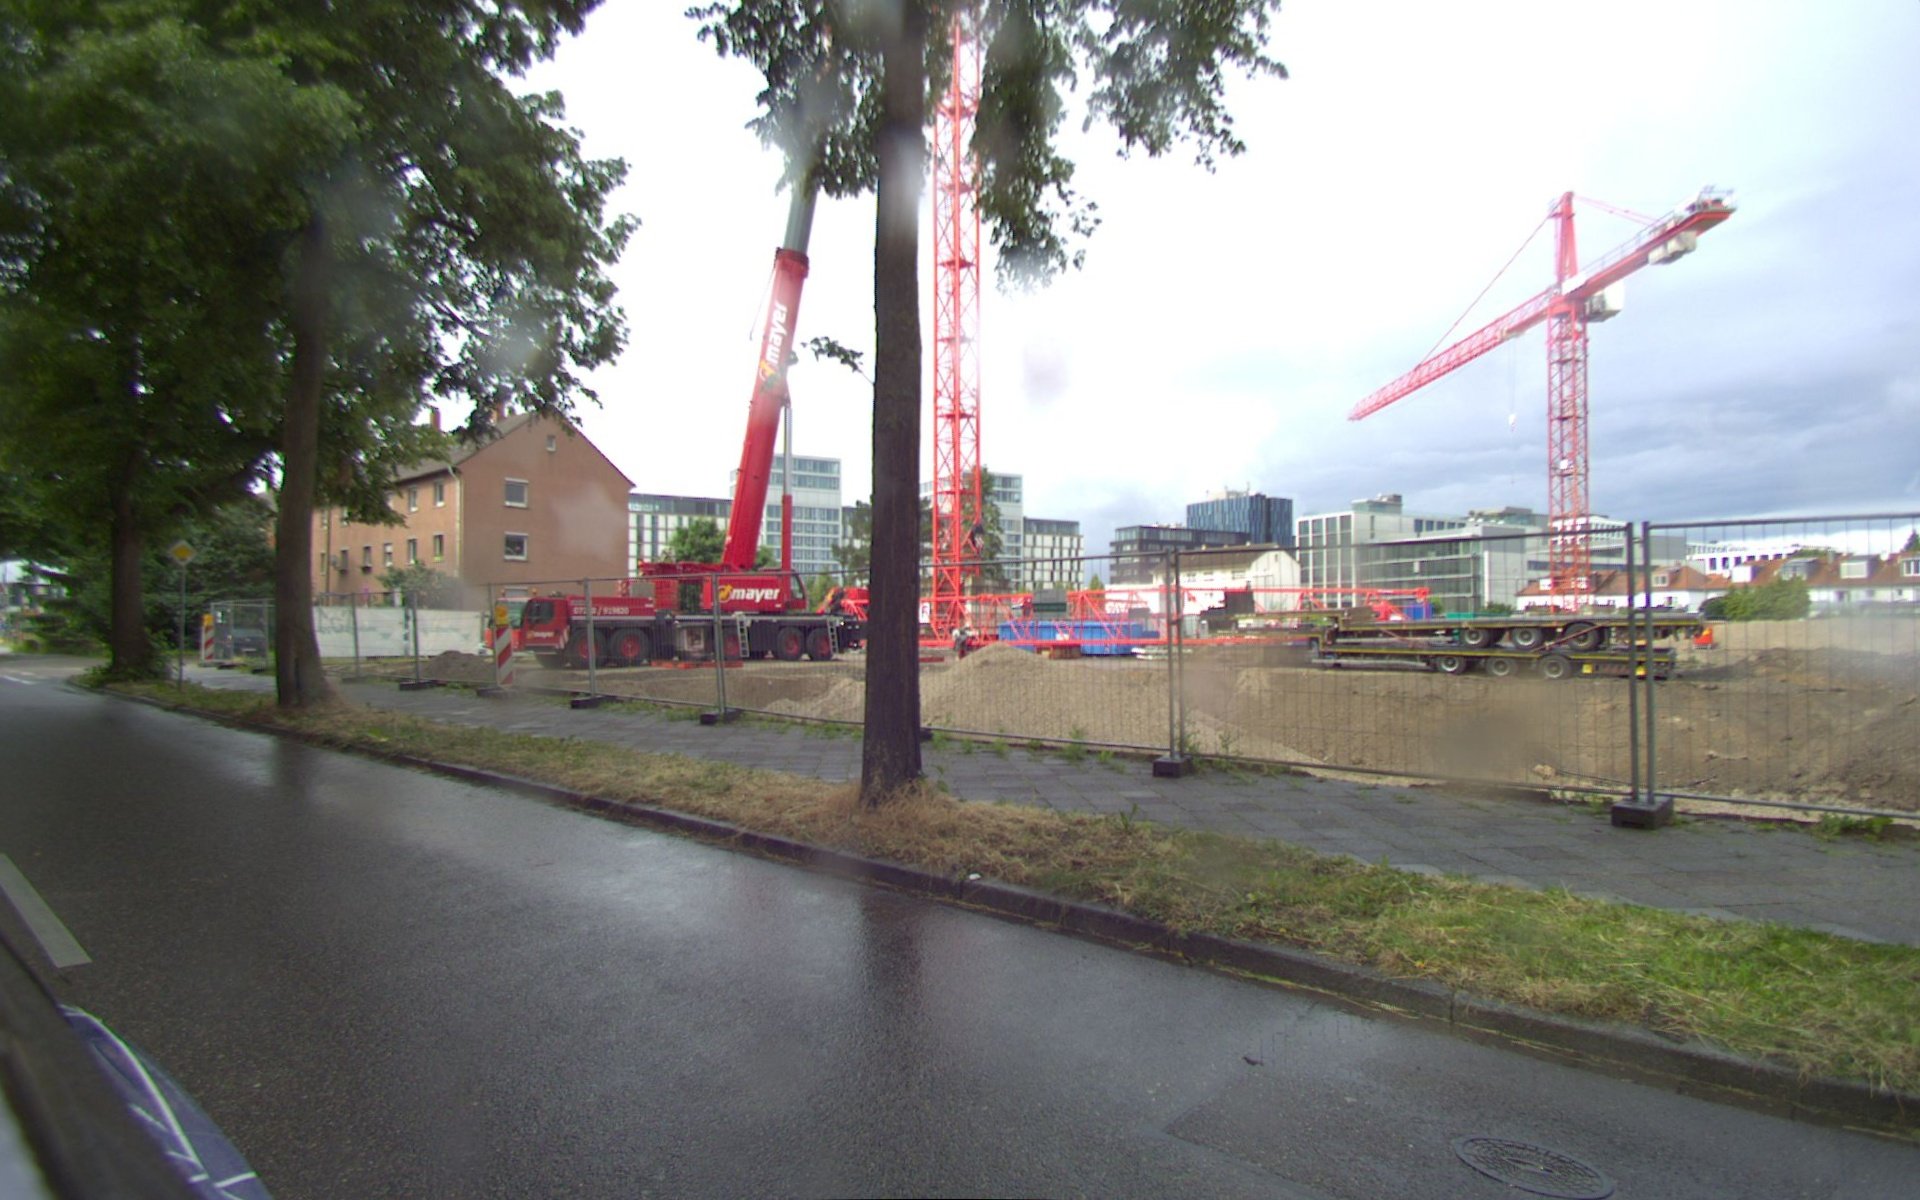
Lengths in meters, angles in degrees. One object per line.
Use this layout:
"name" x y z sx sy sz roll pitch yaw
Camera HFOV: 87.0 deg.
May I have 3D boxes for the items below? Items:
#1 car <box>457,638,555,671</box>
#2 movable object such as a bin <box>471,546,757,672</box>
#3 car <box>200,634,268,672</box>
"car" -21.402 2.542 47.870 1.721 1.424 4.026 -1 -2 29
"movable object such as a bin" -12.601 0.399 37.825 3.366 4.147 9.704 -3 -3 43
"car" -31.620 2.270 44.035 3.869 1.431 1.607 0 0 42
